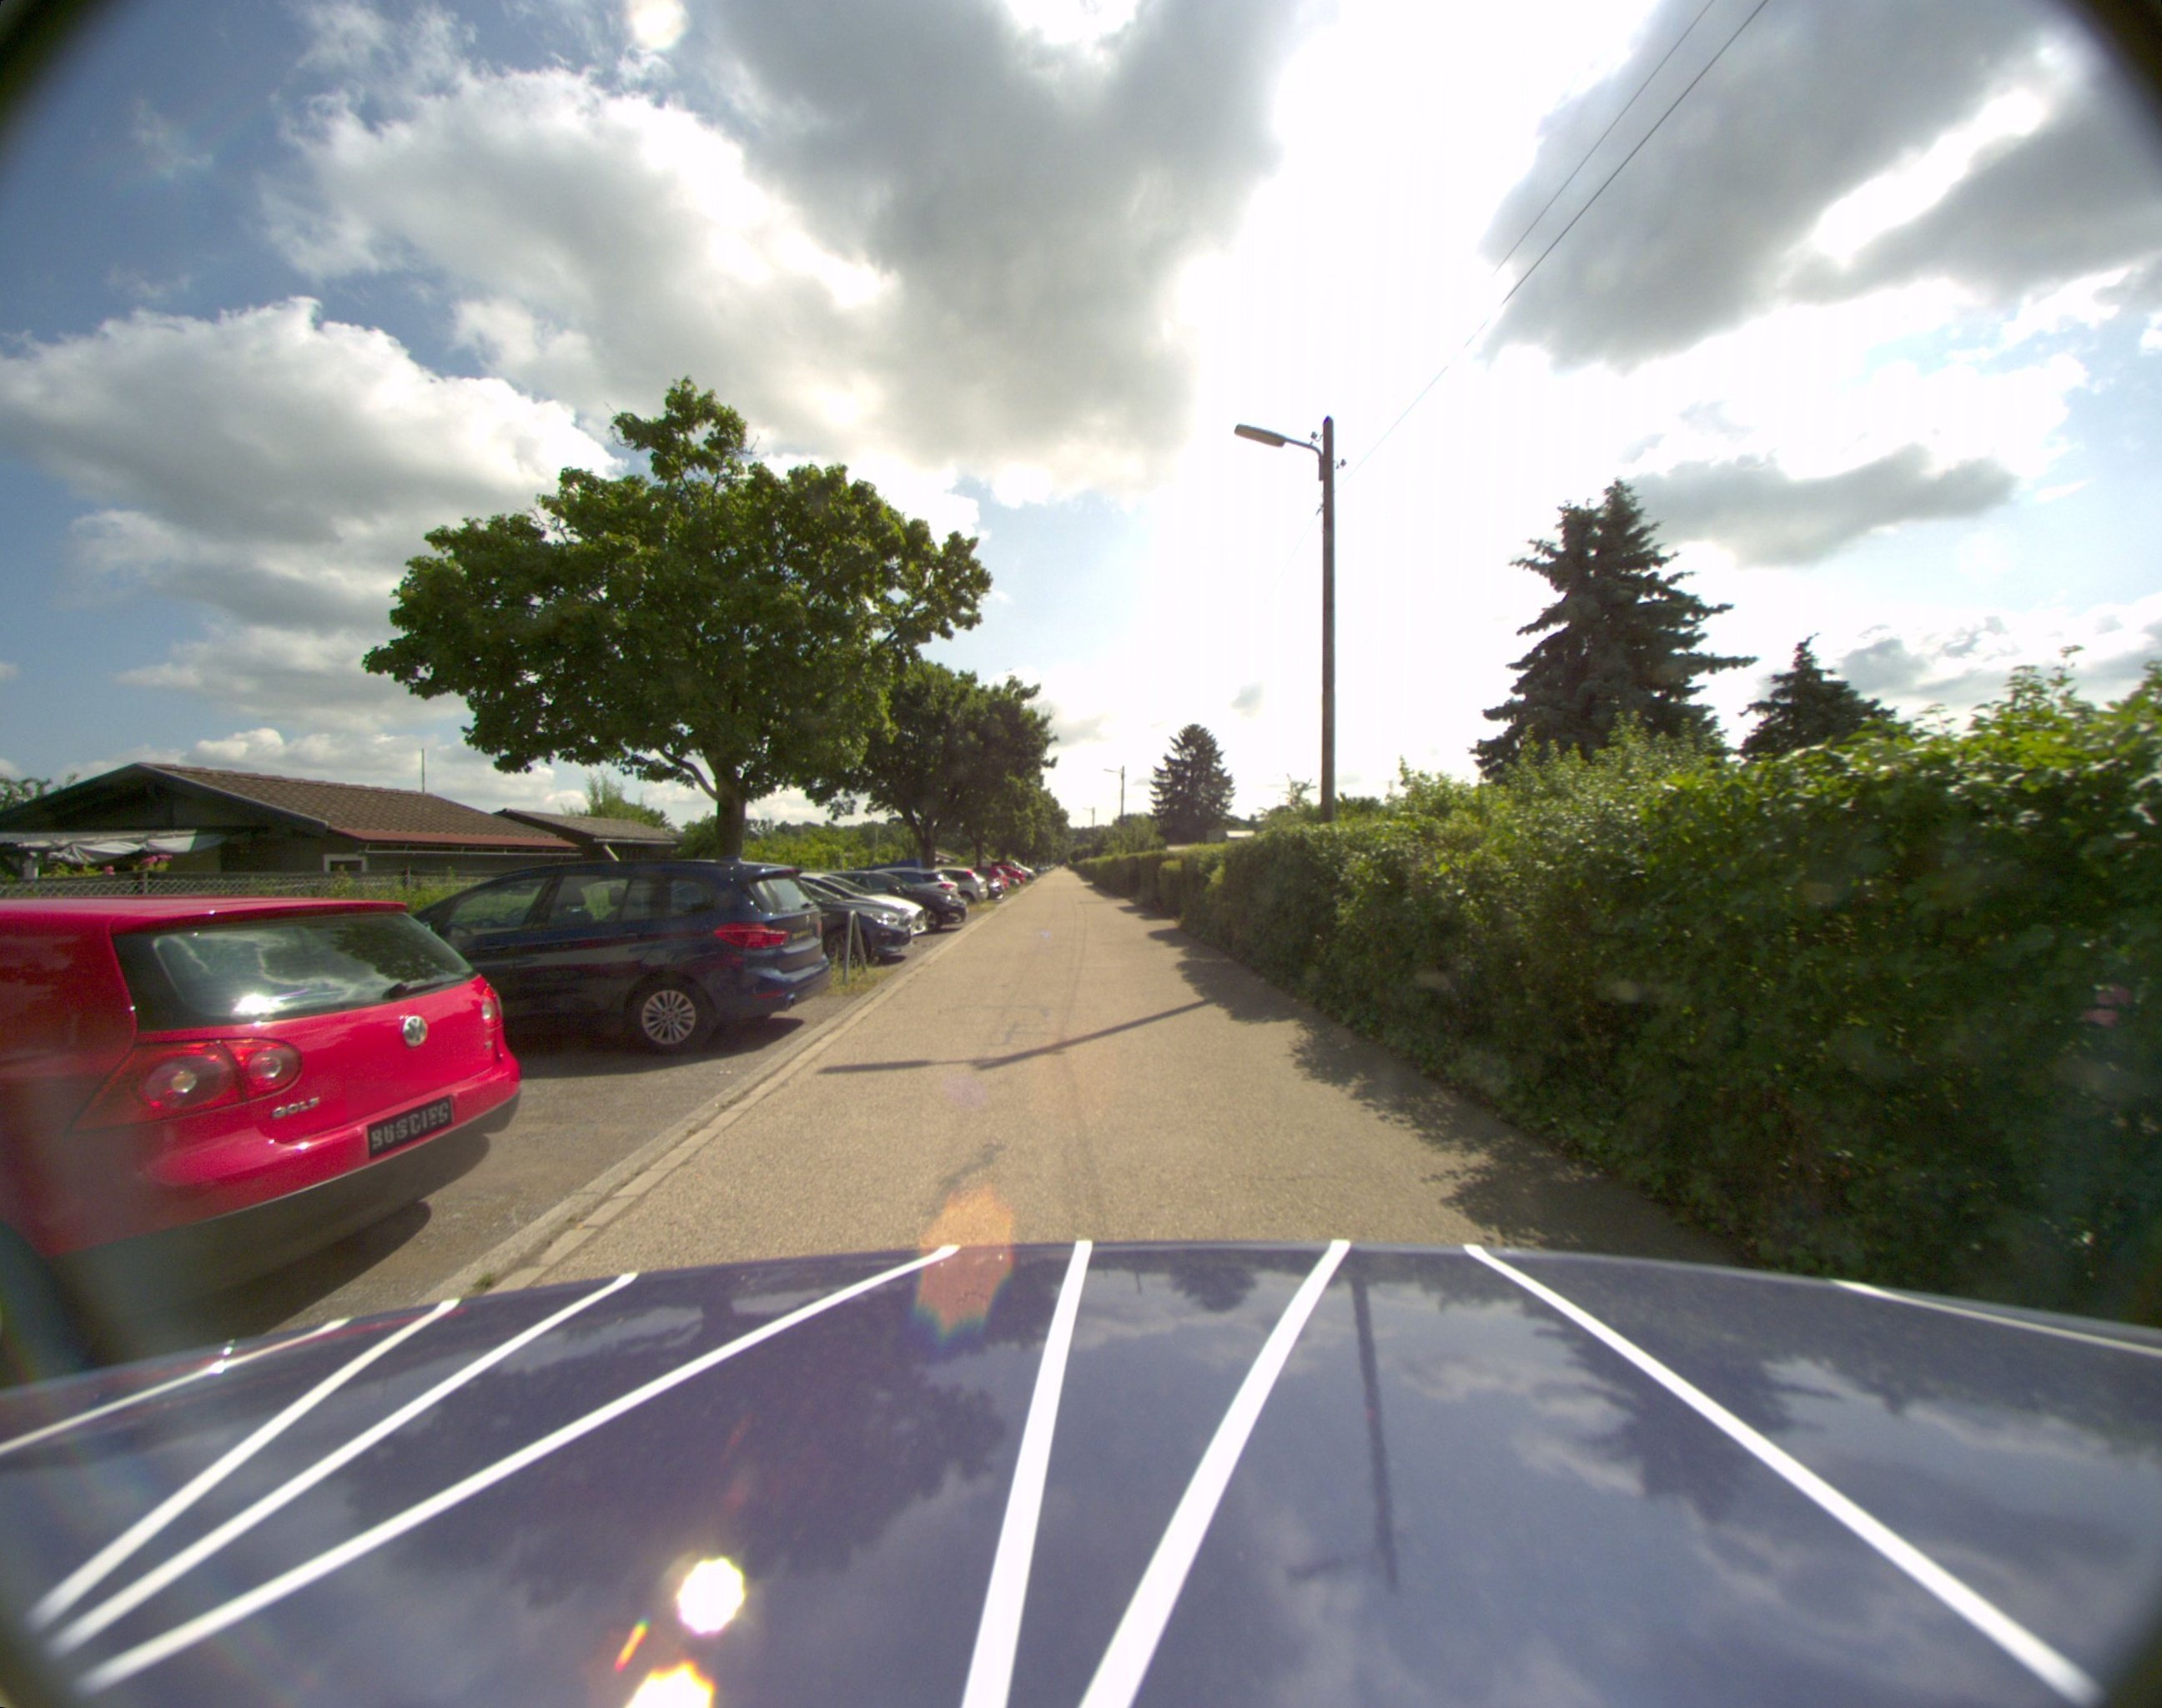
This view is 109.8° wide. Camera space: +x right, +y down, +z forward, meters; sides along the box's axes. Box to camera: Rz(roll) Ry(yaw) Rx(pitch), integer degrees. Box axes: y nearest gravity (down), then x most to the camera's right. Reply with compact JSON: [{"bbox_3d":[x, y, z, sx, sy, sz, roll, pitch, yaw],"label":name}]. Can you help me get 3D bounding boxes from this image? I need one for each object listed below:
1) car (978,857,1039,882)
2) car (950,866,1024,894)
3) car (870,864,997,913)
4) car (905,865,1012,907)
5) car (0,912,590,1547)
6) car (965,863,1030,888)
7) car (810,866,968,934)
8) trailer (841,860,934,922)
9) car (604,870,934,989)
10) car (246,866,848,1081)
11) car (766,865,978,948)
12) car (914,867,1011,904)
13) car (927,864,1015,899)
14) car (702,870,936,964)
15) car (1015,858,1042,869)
[{"bbox_3d":[-5.670,1.223,59.991,4.647,1.875,2.111,0,0,-3],"label":"car"},{"bbox_3d":[-5.528,1.503,45.121,4.251,1.420,1.907,-3,0,-5],"label":"car"},{"bbox_3d":[-5.236,1.216,27.307,4.074,1.502,1.958,-3,0,2],"label":"car"},{"bbox_3d":[-4.891,1.268,30.784,4.077,1.447,1.869,-3,0,-4],"label":"car"},{"bbox_3d":[-4.332,1.074,2.829,3.819,1.523,1.762,-1,0,-1],"label":"car"},{"bbox_3d":[-5.711,1.478,52.340,4.194,1.495,1.878,-3,0,0],"label":"car"},{"bbox_3d":[-4.996,1.181,20.200,3.734,1.531,1.849,-3,0,-4],"label":"car"},{"bbox_3d":[-5.817,1.108,23.063,2.457,1.710,1.518,-3,-1,-5],"label":"trailer"},{"bbox_3d":[-4.720,1.119,12.055,4.347,1.483,1.975,-3,0,-2],"label":"car"},{"bbox_3d":[-4.525,0.962,6.972,4.165,1.628,1.878,-1,0,0],"label":"car"},{"bbox_3d":[-4.679,1.148,17.562,4.313,1.584,2.000,-3,0,-2],"label":"car"},{"bbox_3d":[-5.260,1.377,34.048,3.920,1.415,1.958,-3,0,2],"label":"car"},{"bbox_3d":[-5.377,1.341,37.474,3.996,1.511,1.854,-3,0,2],"label":"car"},{"bbox_3d":[-4.919,1.162,14.732,3.823,1.483,1.902,-3,0,-2],"label":"car"},{"bbox_3d":[-8.194,1.502,118.321,4.116,1.573,1.780,-1,0,-3],"label":"car"}]
